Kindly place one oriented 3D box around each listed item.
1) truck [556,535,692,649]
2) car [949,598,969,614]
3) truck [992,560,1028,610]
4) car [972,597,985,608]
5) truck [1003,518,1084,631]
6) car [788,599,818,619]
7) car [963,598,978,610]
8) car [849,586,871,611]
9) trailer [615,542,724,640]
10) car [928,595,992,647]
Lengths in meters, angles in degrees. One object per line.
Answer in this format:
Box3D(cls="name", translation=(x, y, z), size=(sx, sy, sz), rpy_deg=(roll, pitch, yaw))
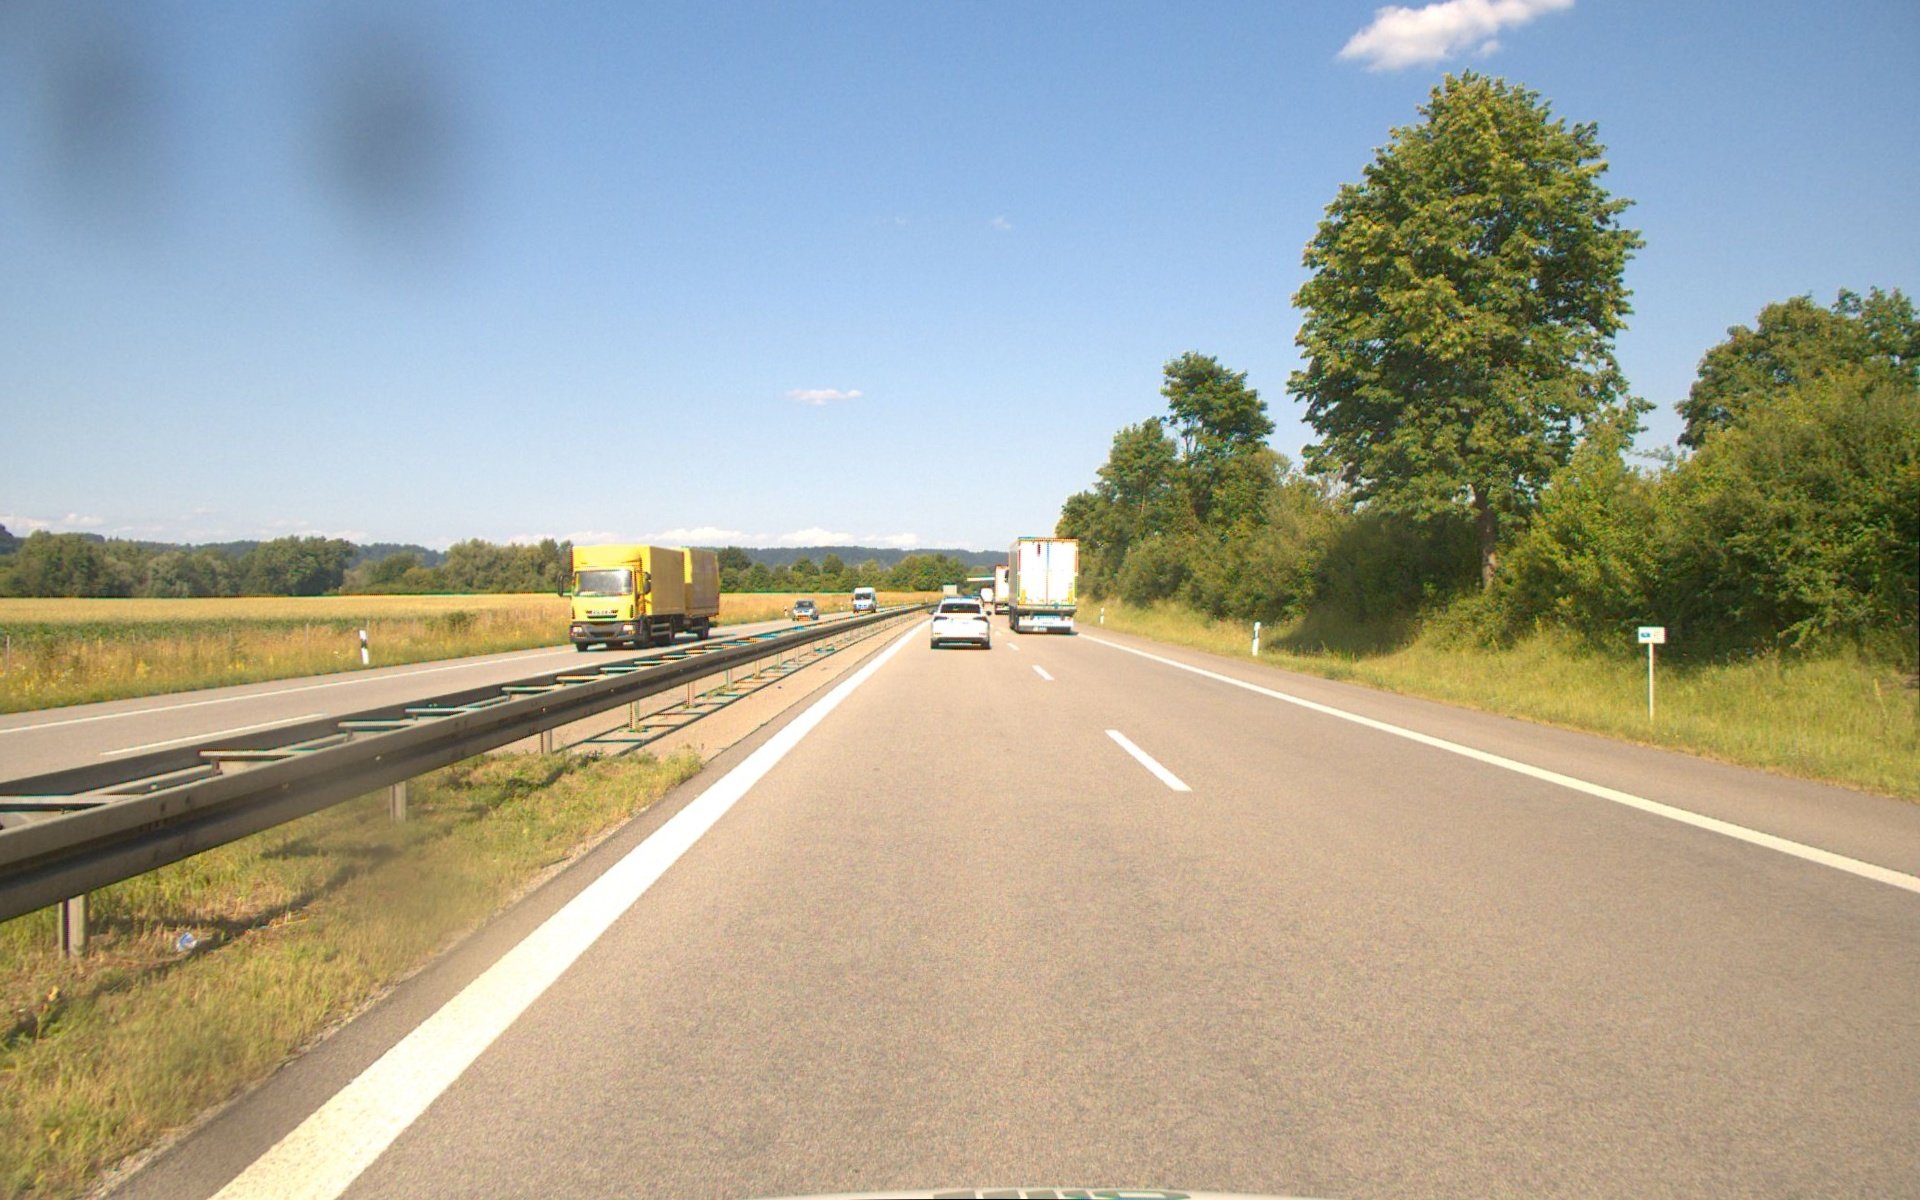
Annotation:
Box3D(cls="truck", translation=(-11.244, -0.255, 56.288), size=(2.680, 3.442, 9.231), rpy_deg=(-3, 0, -1))
Box3D(cls="car", translation=(-0.072, 0.555, 150.582), size=(1.735, 1.446, 4.364), rpy_deg=(1, 0, -1))
Box3D(cls="truck", translation=(4.256, -1.255, 143.121), size=(2.951, 4.187, 8.906), rpy_deg=(-1, 0, 1))
Box3D(cls="car", translation=(2.463, 0.380, 220.431), size=(1.734, 1.446, 4.365), rpy_deg=(1, 0, 1))
Box3D(cls="truck", translation=(3.584, -1.093, 73.401), size=(3.088, 4.693, 8.904), rpy_deg=(-1, 0, 0))
Box3D(cls="car", translation=(-11.384, 0.647, 120.197), size=(1.798, 1.400, 4.000), rpy_deg=(-1, 0, 0))
Box3D(cls="car", translation=(1.207, 0.452, 196.526), size=(1.735, 1.446, 4.365), rpy_deg=(1, 0, 0))
Box3D(cls="car", translation=(-10.207, -0.172, 169.070), size=(1.886, 2.519, 5.185), rpy_deg=(-1, 0, 0))
Box3D(cls="trailer", translation=(-11.360, -0.339, 65.571), size=(2.680, 3.520, 9.231), rpy_deg=(-2, 0, -1))
Box3D(cls="car", translation=(-0.060, 0.594, 49.980), size=(1.803, 1.446, 5.253), rpy_deg=(1, 0, -1))
